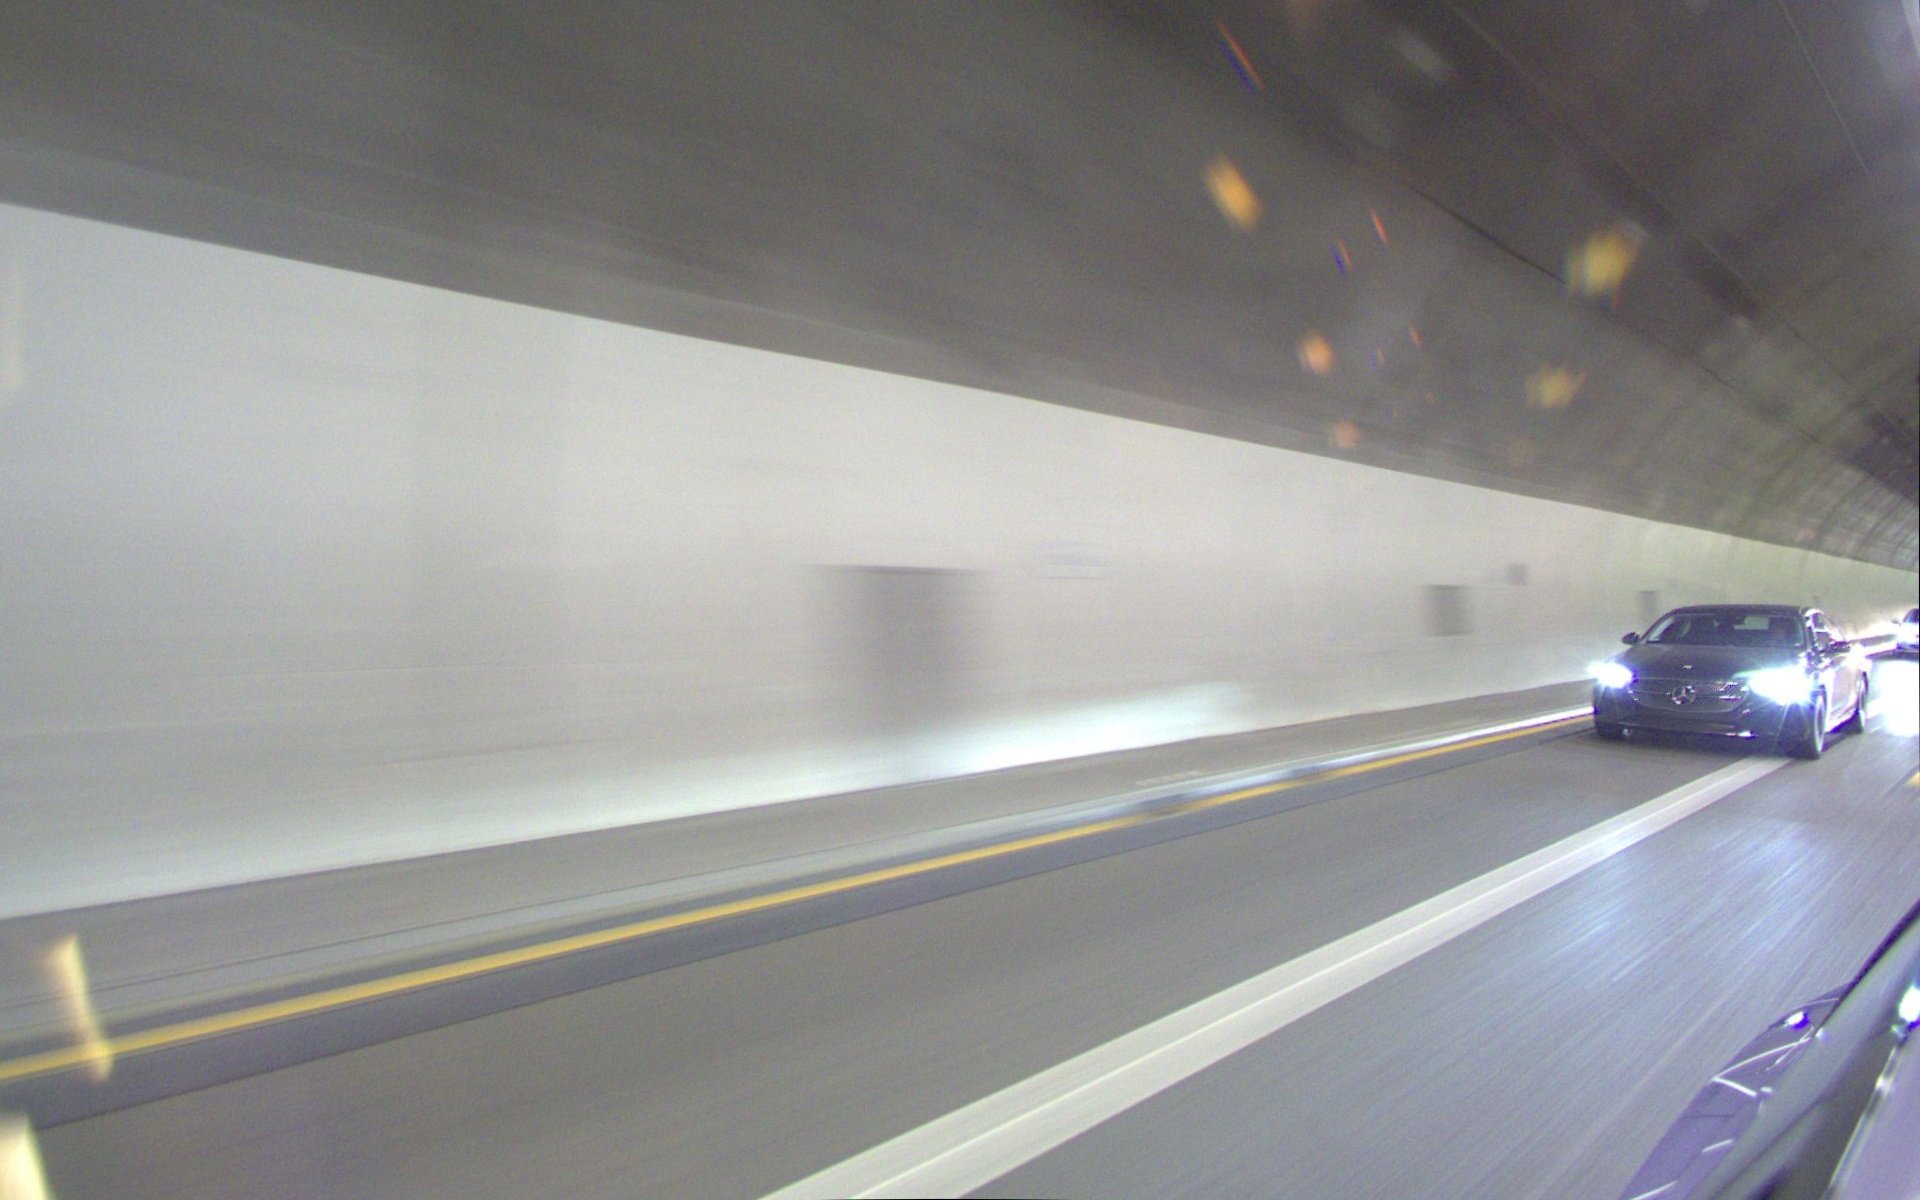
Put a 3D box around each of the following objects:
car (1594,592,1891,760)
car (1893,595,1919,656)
[{"bbox_3d":[8.795,0.677,11.225,4.443,1.496,1.823,0,0,-42],"label":"car"},{"bbox_3d":[27.182,0.665,27.680,4.661,1.560,1.996,-1,0,-42],"label":"car"}]
